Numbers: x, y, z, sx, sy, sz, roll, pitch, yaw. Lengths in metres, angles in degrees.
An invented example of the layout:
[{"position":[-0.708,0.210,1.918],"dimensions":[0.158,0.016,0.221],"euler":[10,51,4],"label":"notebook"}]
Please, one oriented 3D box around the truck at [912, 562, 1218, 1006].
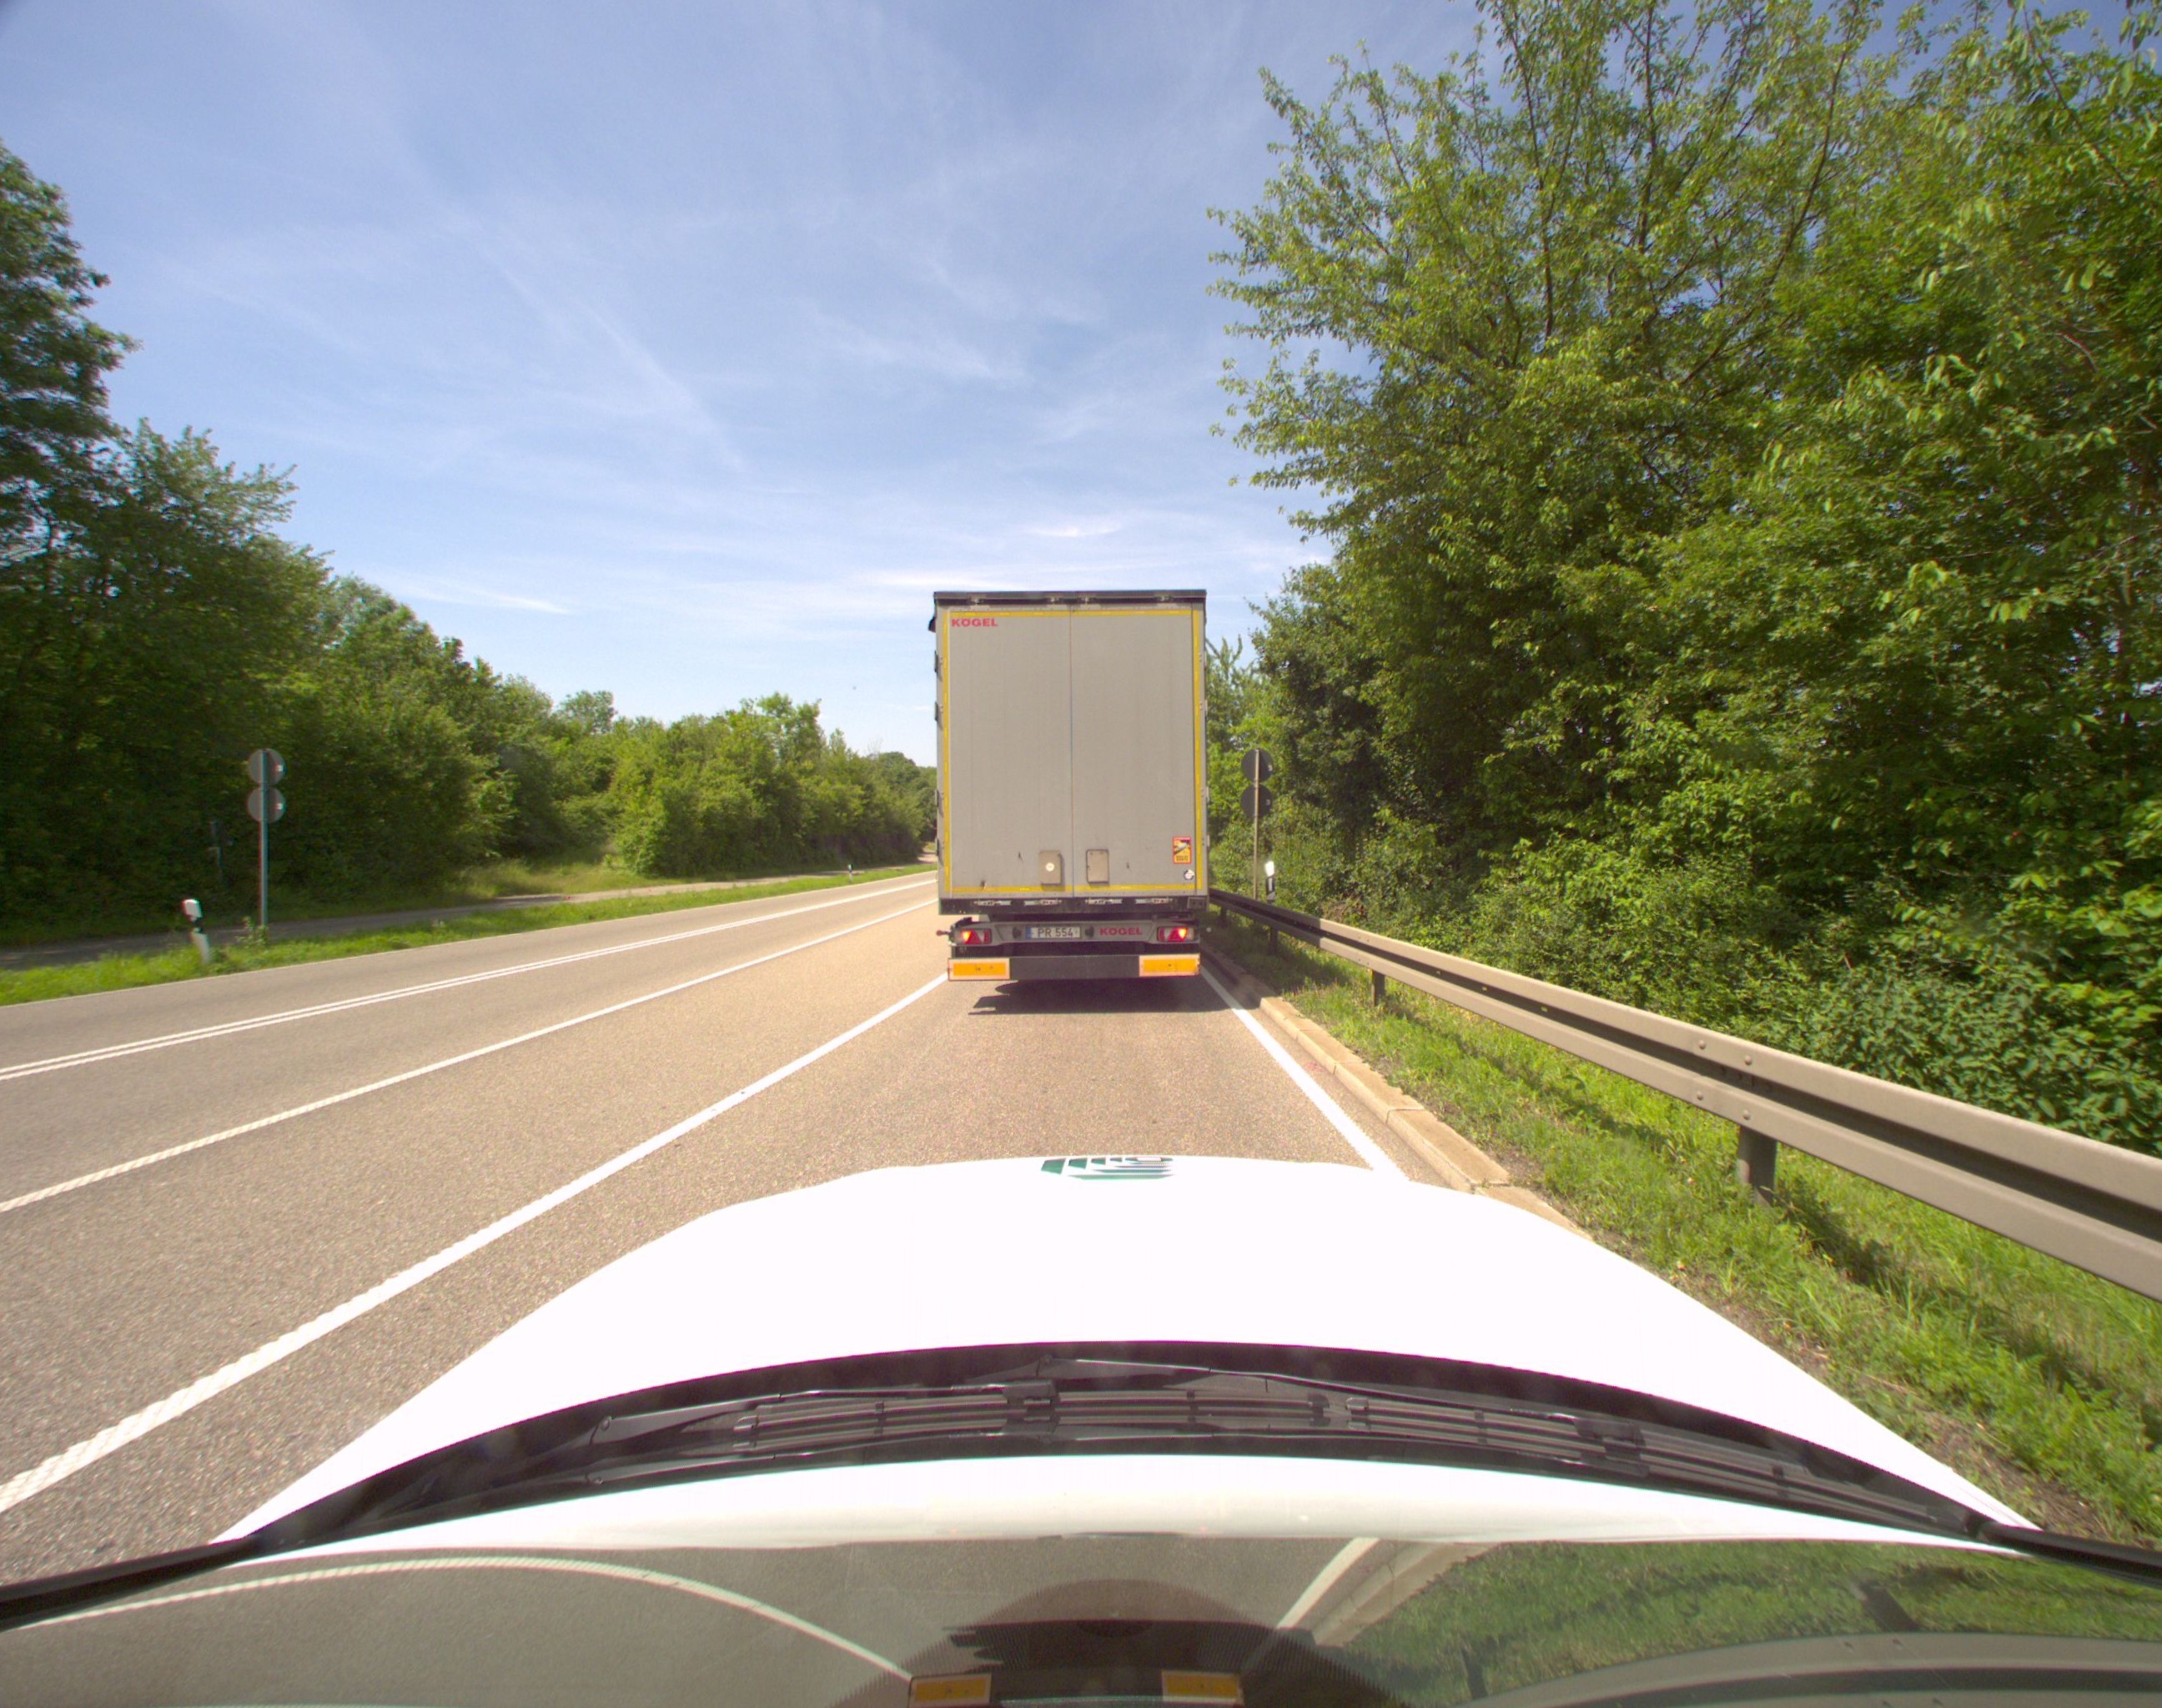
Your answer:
[{"position":[-0.028,-0.664,13.433],"dimensions":[2.747,4.029,11.926],"euler":[-1,0,1],"label":"truck"}]
